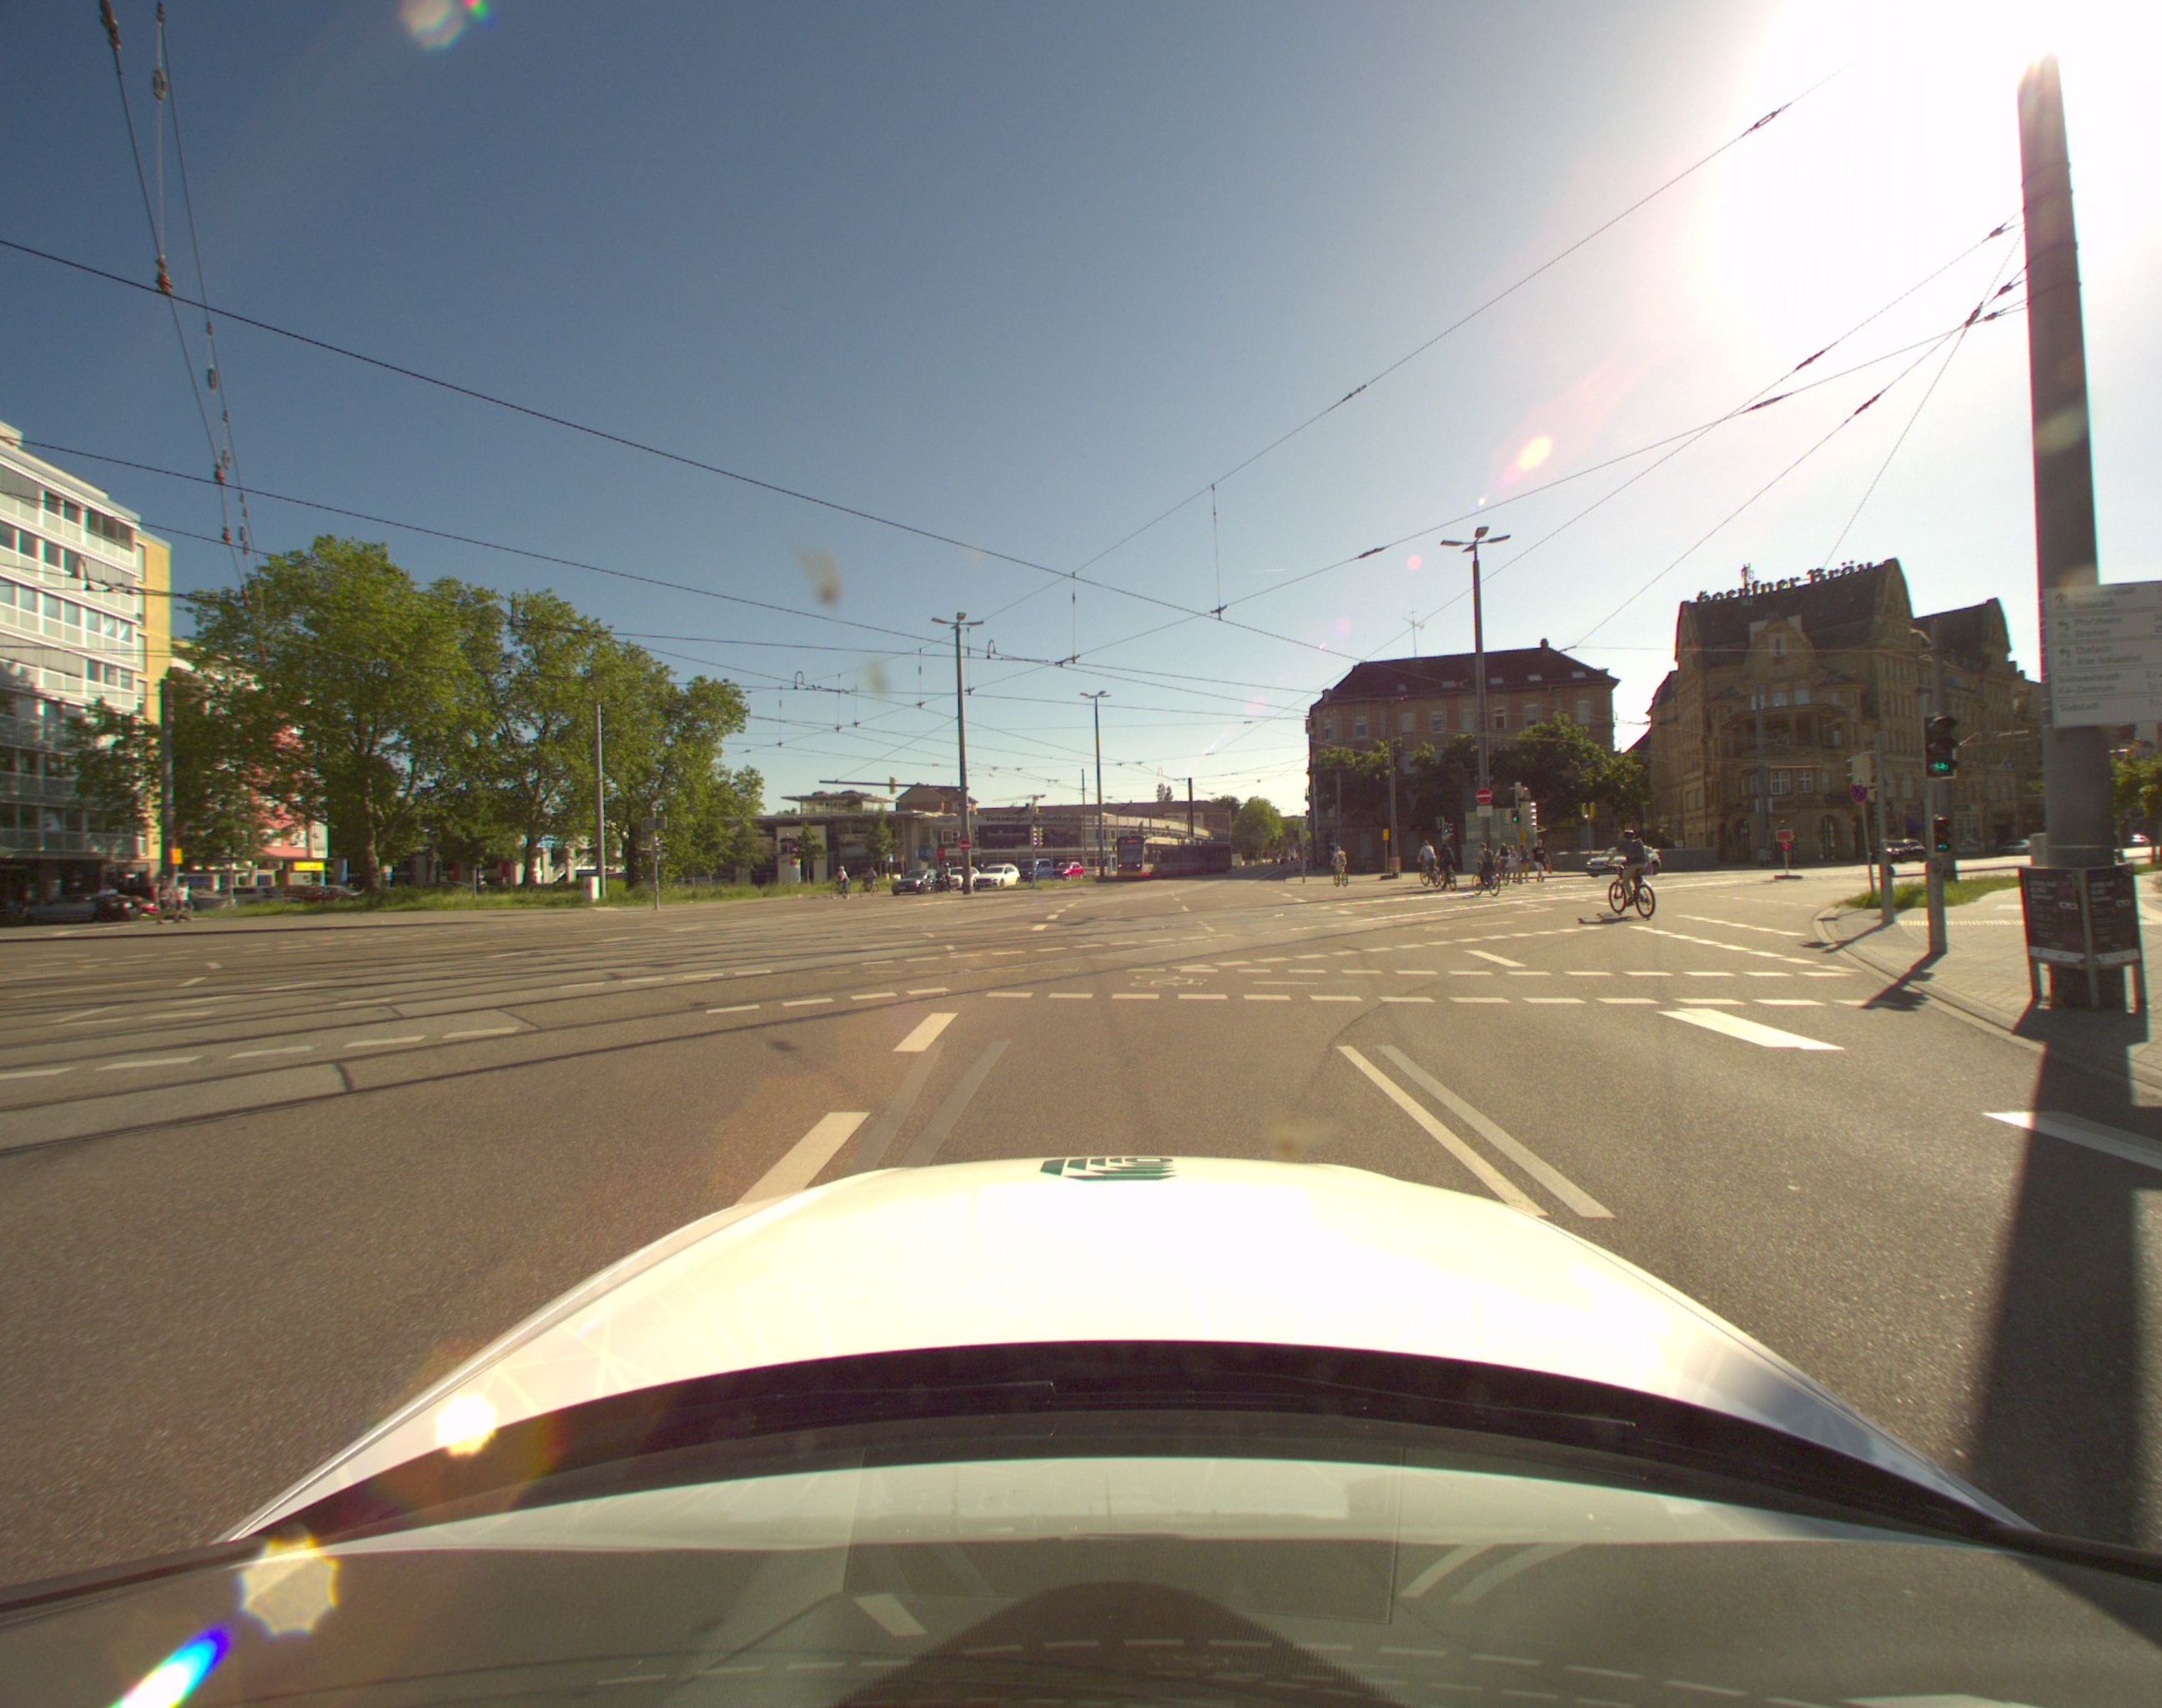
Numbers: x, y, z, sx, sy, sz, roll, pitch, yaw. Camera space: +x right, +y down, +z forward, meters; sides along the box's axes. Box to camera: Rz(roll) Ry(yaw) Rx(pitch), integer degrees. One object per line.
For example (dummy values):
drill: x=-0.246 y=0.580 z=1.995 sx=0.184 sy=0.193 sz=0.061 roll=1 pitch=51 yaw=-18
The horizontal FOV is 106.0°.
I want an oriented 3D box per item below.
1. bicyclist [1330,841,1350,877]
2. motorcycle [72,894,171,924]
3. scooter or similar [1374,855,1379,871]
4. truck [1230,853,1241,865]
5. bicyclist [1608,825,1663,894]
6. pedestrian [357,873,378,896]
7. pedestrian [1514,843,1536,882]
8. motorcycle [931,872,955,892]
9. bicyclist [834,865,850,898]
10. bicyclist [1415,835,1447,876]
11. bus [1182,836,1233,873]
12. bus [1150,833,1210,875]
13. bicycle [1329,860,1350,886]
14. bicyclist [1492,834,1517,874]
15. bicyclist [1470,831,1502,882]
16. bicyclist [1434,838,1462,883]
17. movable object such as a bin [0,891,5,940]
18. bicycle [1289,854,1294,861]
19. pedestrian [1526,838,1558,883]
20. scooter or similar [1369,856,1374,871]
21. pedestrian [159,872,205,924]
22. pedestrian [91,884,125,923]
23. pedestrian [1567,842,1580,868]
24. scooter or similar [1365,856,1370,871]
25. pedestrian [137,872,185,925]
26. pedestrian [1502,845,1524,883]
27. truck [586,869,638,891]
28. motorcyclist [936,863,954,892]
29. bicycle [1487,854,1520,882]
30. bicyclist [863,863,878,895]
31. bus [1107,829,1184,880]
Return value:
bicyclist: x=12.037 y=0.243 z=37.916 sx=0.677 sy=1.683 sz=1.122 roll=0 pitch=-1 yaw=5
motorcycle: x=-40.195 y=2.287 z=34.140 sx=2.942 sy=1.177 sz=1.294 roll=0 pitch=-1 yaw=9
scooter or similar: x=23.381 y=0.723 z=64.523 sx=0.268 sy=1.196 sz=1.571 roll=0 pitch=-1 yaw=16
truck: x=36.373 y=1.201 z=191.617 sx=2.521 sy=2.830 sz=6.397 roll=0 pitch=-1 yaw=12
bicyclist: x=11.827 y=0.125 z=17.410 sx=0.669 sy=1.421 sz=1.041 roll=0 pitch=-1 yaw=16
pedestrian: x=-64.571 y=2.753 z=73.752 sx=1.110 sy=2.014 sz=1.168 roll=1 pitch=-1 yaw=-26
pedestrian: x=20.191 y=0.391 z=37.042 sx=0.655 sy=1.757 sz=0.826 roll=0 pitch=-1 yaw=12
motorcycle: x=-7.718 y=1.555 z=45.672 sx=0.514 sy=1.047 sz=1.755 roll=-3 pitch=-1 yaw=17
bicyclist: x=-13.028 y=1.487 z=44.420 sx=0.569 sy=1.742 sz=0.681 roll=0 pitch=1 yaw=16
bicyclist: x=14.122 y=0.060 z=32.865 sx=0.783 sy=1.593 sz=0.882 roll=-1 pitch=-1 yaw=-12
bus: x=13.648 y=0.053 z=86.858 sx=2.816 sy=3.590 sz=11.329 roll=-2 pitch=-1 yaw=21
bus: x=9.500 y=0.026 z=76.551 sx=2.816 sy=3.590 sz=10.783 roll=-2 pitch=-1 yaw=22
bicycle: x=12.064 y=0.855 z=38.001 sx=0.529 sy=1.117 sz=1.937 roll=0 pitch=1 yaw=5
bicyclist: x=17.405 y=0.008 z=33.502 sx=0.595 sy=1.613 sz=0.955 roll=0 pitch=-1 yaw=7
bicyclist: x=13.114 y=0.092 z=26.395 sx=0.548 sy=1.613 sz=0.953 roll=0 pitch=-1 yaw=1
bicyclist: x=13.522 y=0.252 z=30.033 sx=0.621 sy=1.613 sz=0.981 roll=0 pitch=-1 yaw=3
movable object such as a bin: x=-36.668 y=2.053 z=26.895 sx=0.991 sy=1.634 sz=0.931 roll=0 pitch=-1 yaw=-18
bicycle: x=32.043 y=0.543 z=124.206 sx=0.676 sy=1.114 sz=2.718 roll=0 pitch=-1 yaw=15
pedestrian: x=20.034 y=0.269 z=35.428 sx=0.924 sy=1.930 sz=1.052 roll=0 pitch=-1 yaw=12
scooter or similar: x=23.067 y=0.741 z=64.617 sx=0.268 sy=1.185 sz=1.571 roll=0 pitch=-1 yaw=16
pedestrian: x=-36.091 y=1.749 z=32.698 sx=0.855 sy=2.030 sz=0.866 roll=0 pitch=-1 yaw=-11
pedestrian: x=-41.960 y=2.137 z=35.123 sx=0.763 sy=1.621 sz=0.646 roll=1 pitch=-1 yaw=-36
pedestrian: x=34.938 y=0.061 z=57.743 sx=0.651 sy=1.849 sz=0.542 roll=1 pitch=-1 yaw=-27
scooter or similar: x=22.761 y=0.743 z=64.691 sx=0.268 sy=1.185 sz=1.571 roll=0 pitch=-1 yaw=16
pedestrian: x=-35.934 y=1.736 z=31.824 sx=0.855 sy=2.030 sz=0.866 roll=0 pitch=-1 yaw=-11
pedestrian: x=19.330 y=0.436 z=36.446 sx=0.655 sy=1.677 sz=0.826 roll=0 pitch=-1 yaw=12
truck: x=-48.724 y=2.698 z=84.661 sx=4.187 sy=2.221 sz=2.001 roll=0 pitch=-1 yaw=1
motorcyclist: x=-7.672 y=1.322 z=45.915 sx=0.580 sy=1.580 sz=0.947 roll=-3 pitch=-2 yaw=17
bicycle: x=17.406 y=0.561 z=33.575 sx=0.529 sy=1.117 sz=1.937 roll=0 pitch=1 yaw=5
bicyclist: x=-11.864 y=1.408 z=45.871 sx=0.569 sy=1.742 sz=0.604 roll=0 pitch=1 yaw=16
bus: x=5.422 y=0.058 z=65.135 sx=2.818 sy=3.590 sz=13.560 roll=-2 pitch=-1 yaw=19
